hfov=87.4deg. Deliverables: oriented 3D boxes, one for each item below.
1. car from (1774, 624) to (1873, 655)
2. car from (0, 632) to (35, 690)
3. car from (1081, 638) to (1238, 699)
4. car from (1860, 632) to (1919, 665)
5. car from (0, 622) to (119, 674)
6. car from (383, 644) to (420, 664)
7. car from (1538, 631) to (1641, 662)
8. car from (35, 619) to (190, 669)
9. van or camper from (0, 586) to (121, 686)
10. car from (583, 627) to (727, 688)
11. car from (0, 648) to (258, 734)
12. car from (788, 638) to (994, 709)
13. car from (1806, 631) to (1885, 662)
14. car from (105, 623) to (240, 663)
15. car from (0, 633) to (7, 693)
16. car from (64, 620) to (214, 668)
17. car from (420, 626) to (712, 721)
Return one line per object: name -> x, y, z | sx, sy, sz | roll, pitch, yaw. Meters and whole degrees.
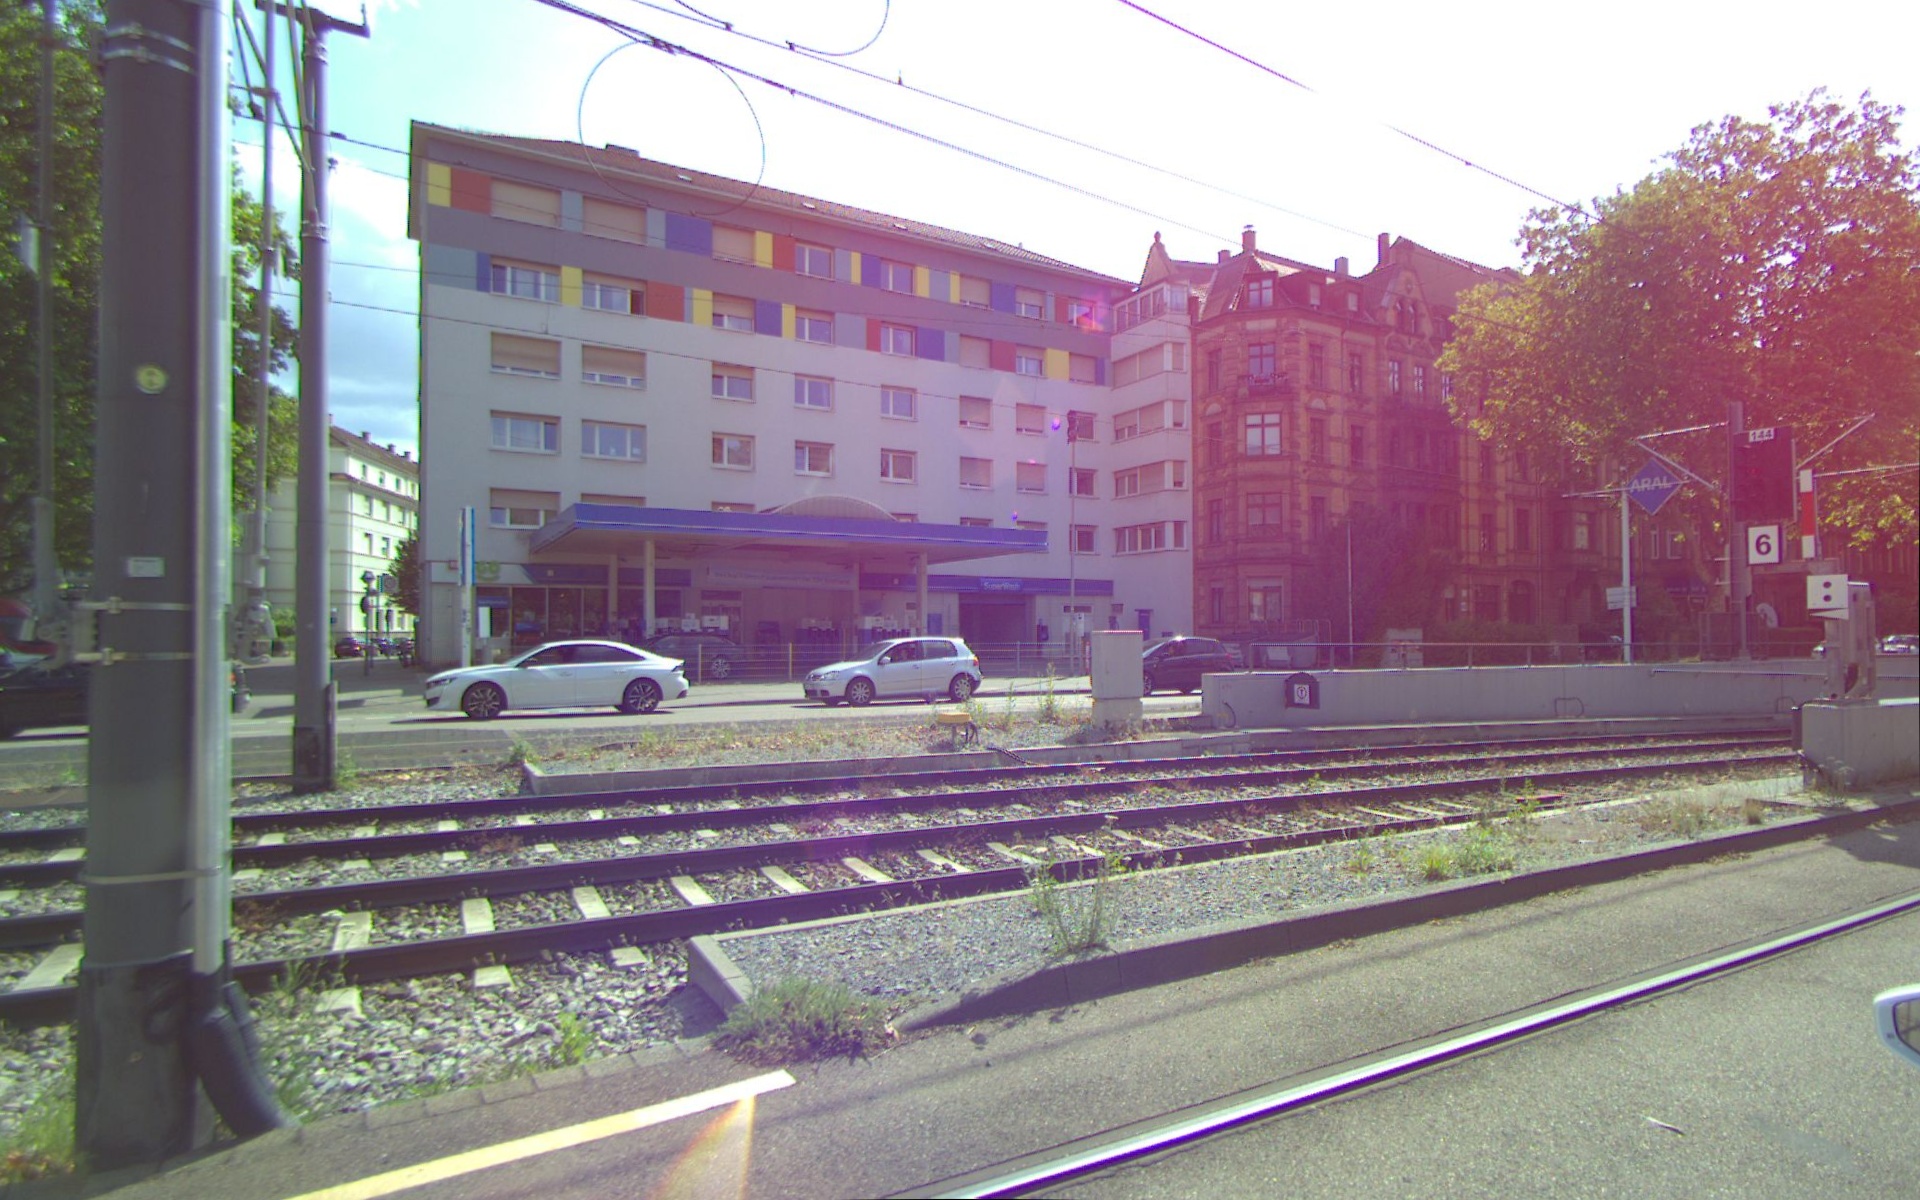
car -> 54.865, 2.486, 63.897 | 1.977, 1.943, 4.380 | 1, -2, -31
car -> -25.880, 1.532, 24.935 | 3.954, 1.429, 1.744 | 1, -2, -31
car -> 5.158, 1.725, 25.999 | 3.730, 1.435, 1.664 | 0, -2, -25
car -> 45.205, 2.304, 48.322 | 3.955, 1.501, 1.636 | 1, -4, -31
car -> -29.773, 1.543, 32.290 | 3.954, 1.625, 1.518 | 1, -3, -31
car -> -44.434, 4.290, 80.011 | 1.646, 1.435, 3.771 | 0, -2, -15
car -> 31.610, 2.310, 50.577 | 1.974, 1.503, 3.973 | 1, -2, -27
car -> -35.287, 1.832, 42.017 | 4.629, 1.959, 1.984 | 1, -4, -31
van or camper -> -26.825, 1.039, 27.677 | 5.283, 2.675, 2.094 | 1, -4, -29
car -> -9.235, 1.705, 30.420 | 3.829, 1.628, 1.893 | -1, -1, -30
car -> -13.483, 1.400, 15.988 | 3.588, 1.204, 1.610 | 1, -2, -29
car -> -1.525, 1.609, 22.680 | 4.350, 1.435, 1.715 | 1, -3, -29
car -> 39.791, 2.098, 45.149 | 3.447, 1.320, 1.492 | 1, -4, -28
car -> -39.980, 2.177, 51.185 | 5.197, 1.896, 1.983 | 1, -4, -33
car -> -24.441, 1.471, 22.637 | 3.954, 1.429, 1.744 | 1, -2, -31
car -> -37.862, 2.035, 46.541 | 5.200, 2.113, 1.982 | 1, -4, -35
car -> -7.536, 1.378, 19.377 | 5.017, 1.627, 1.938 | 1, -4, -30
